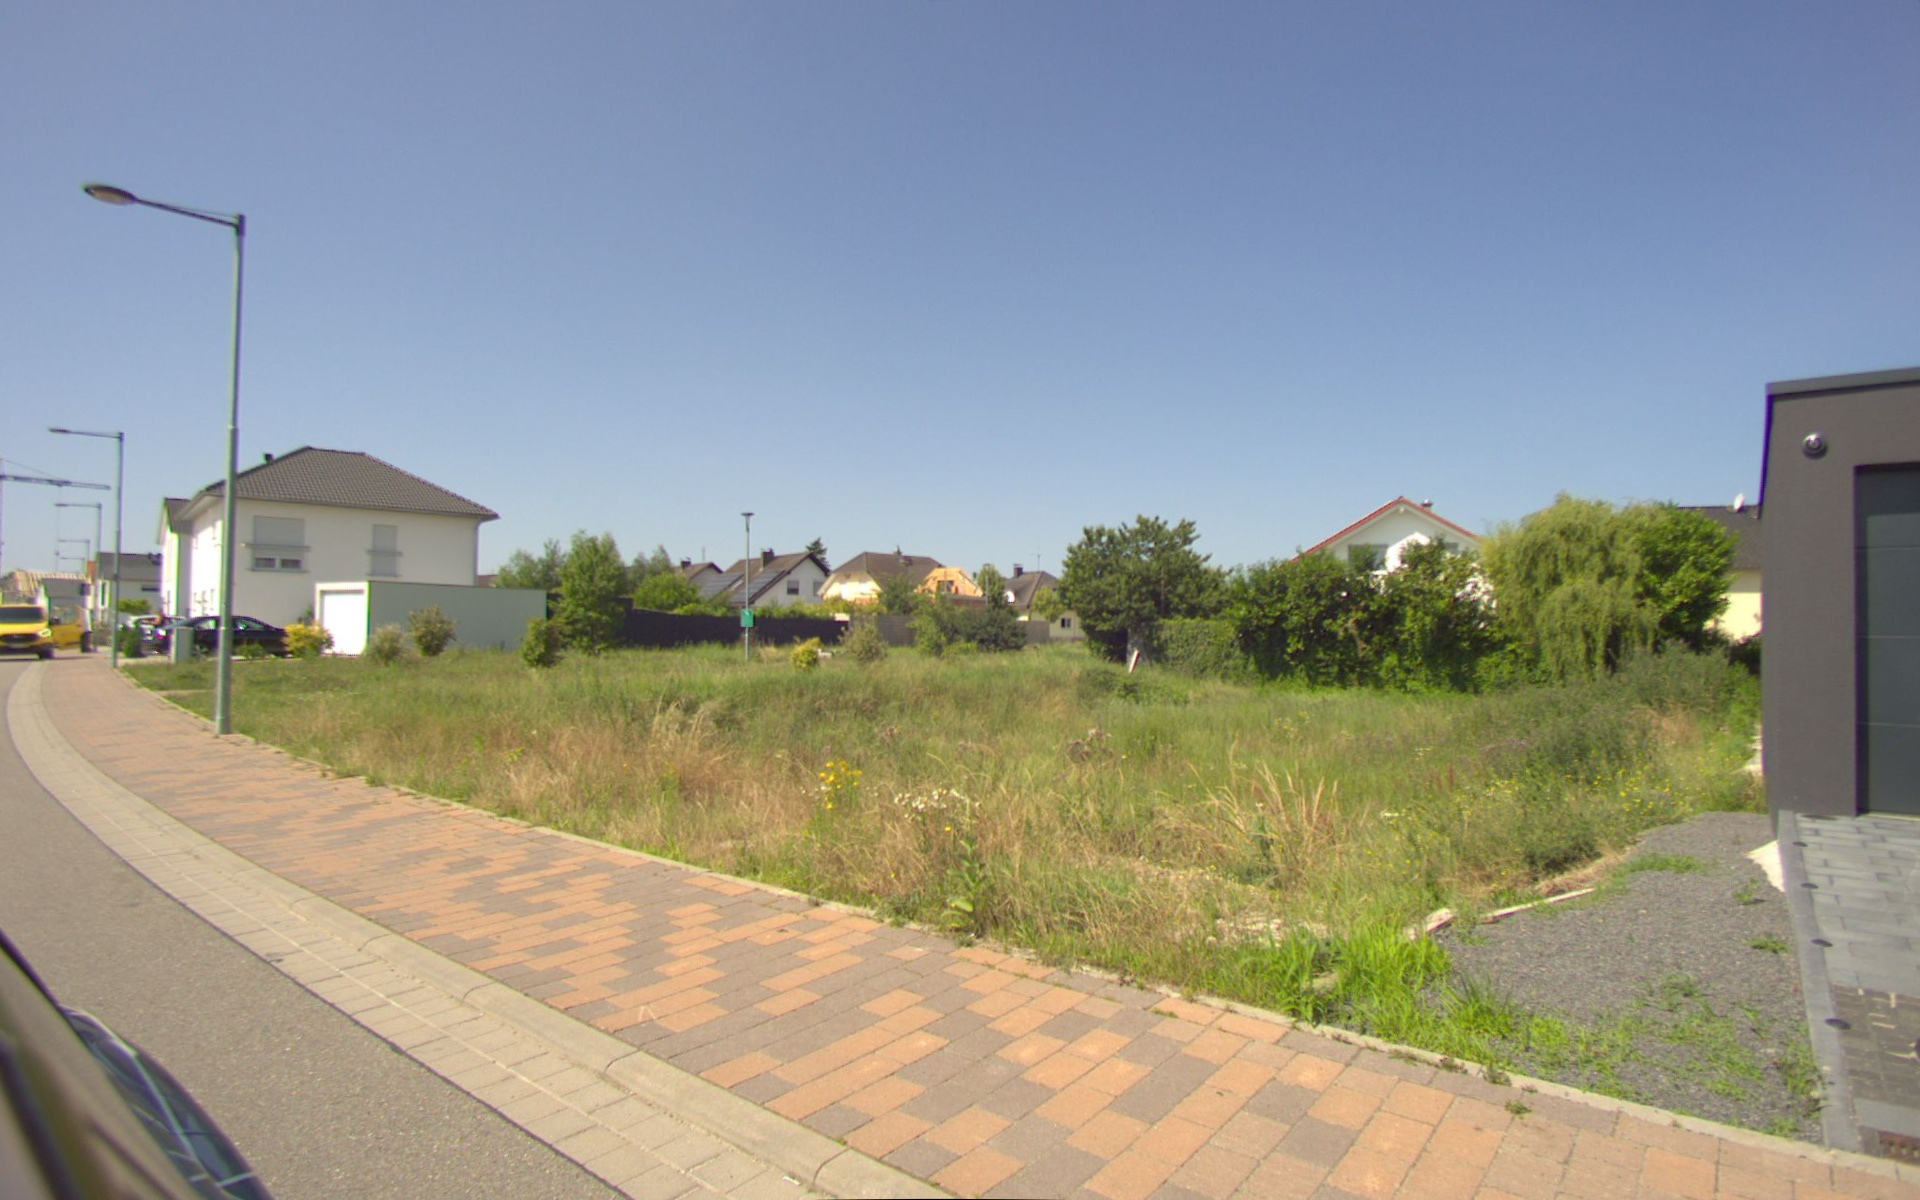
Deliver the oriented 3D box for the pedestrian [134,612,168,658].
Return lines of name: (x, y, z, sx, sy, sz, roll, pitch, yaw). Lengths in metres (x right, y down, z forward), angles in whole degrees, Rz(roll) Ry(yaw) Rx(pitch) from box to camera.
pedestrian: (-30.989, 1.338, 38.781, 0.917, 1.698, 0.538, -1, 0, -33)

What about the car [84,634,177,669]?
car: (-46.508, 2.856, 56.767, 3.938, 1.866, 2.003, 2, -2, -41)

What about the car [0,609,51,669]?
car: (-33.944, 1.358, 36.136, 4.842, 2.029, 1.863, -1, -1, 44)

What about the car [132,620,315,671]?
car: (-23.082, 1.388, 31.898, 1.745, 1.463, 4.355, -1, -1, 34)
